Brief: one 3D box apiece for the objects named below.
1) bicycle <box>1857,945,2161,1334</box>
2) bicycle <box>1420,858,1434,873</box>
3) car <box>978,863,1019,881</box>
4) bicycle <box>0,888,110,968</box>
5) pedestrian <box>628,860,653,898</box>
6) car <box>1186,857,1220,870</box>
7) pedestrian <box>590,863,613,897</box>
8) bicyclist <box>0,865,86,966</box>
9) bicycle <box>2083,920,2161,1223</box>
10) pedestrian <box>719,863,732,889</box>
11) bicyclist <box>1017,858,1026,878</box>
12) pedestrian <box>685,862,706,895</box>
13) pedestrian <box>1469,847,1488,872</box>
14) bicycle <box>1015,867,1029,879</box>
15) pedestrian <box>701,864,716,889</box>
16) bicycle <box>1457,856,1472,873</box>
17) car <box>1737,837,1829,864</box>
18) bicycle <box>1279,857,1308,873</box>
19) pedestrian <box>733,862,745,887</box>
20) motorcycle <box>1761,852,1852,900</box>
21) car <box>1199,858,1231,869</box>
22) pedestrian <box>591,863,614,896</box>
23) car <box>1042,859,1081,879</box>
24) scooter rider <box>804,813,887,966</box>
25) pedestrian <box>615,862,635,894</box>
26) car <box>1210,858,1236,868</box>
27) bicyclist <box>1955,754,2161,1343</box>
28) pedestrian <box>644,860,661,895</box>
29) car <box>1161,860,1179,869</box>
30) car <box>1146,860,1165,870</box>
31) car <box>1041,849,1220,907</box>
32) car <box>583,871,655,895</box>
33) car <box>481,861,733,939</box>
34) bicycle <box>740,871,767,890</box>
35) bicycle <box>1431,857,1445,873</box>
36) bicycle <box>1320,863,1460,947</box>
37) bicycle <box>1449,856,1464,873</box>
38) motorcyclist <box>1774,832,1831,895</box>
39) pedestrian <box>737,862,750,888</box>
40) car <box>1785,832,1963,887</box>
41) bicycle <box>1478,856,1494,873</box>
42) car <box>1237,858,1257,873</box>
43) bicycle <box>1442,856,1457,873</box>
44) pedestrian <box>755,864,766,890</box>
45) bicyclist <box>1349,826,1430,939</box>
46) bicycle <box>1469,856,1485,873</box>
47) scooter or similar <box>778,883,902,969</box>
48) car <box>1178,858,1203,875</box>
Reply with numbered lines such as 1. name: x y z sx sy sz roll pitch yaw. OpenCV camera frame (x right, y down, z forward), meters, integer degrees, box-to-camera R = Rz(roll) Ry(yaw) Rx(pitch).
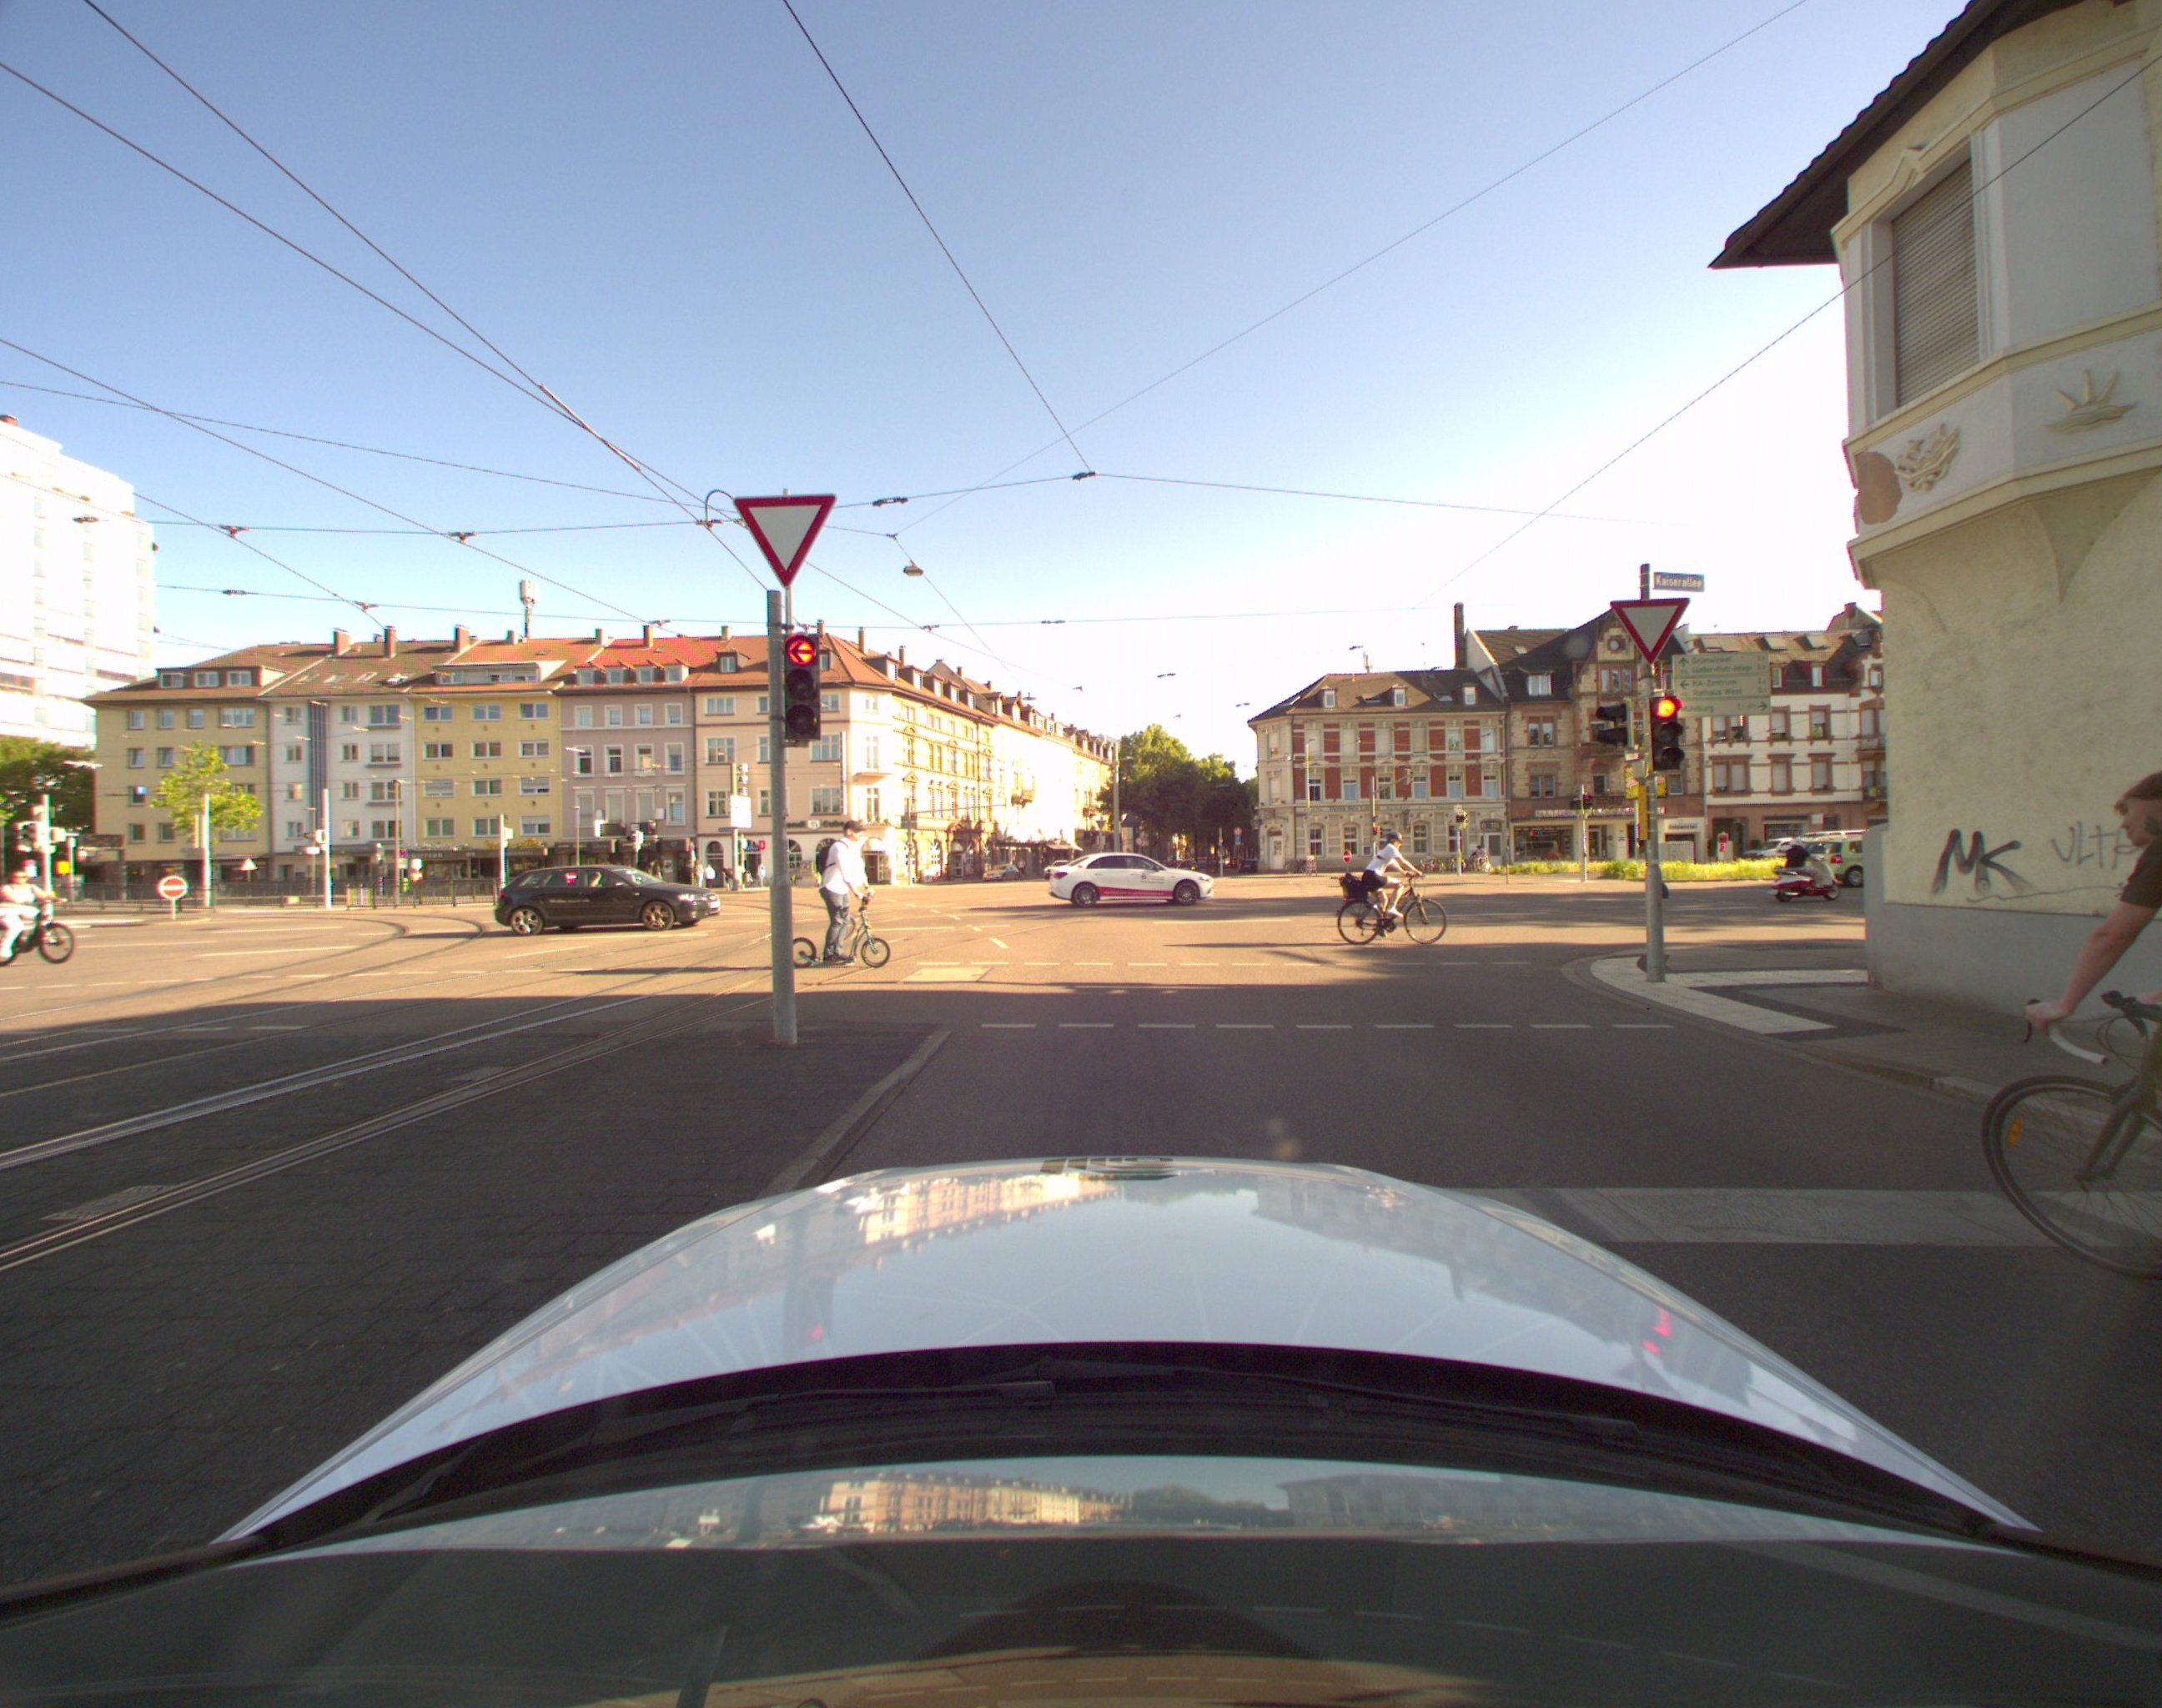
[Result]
1. bicycle: 3.555 0.922 2.499 0.568 1.058 1.890 -1 0 2
2. bicycle: 22.481 0.731 52.974 0.483 0.914 1.789 -1 0 12
3. car: -6.759 1.473 67.361 1.977 1.361 3.836 -1 0 18
4. bicycle: -18.595 1.311 14.433 1.934 1.298 0.623 -3 0 0
5. pedestrian: -21.580 1.217 39.902 0.764 1.829 0.723 -1 0 1
6. car: 14.964 1.150 99.504 3.959 1.454 1.687 -1 0 13
7. pedestrian: -23.406 1.282 39.749 0.738 1.635 0.572 -1 0 1
8. bicyclist: -18.615 1.071 14.498 0.796 1.714 0.734 -3 0 0
9. bicycle: 4.499 0.861 2.485 0.568 1.165 1.890 -1 0 2
10. pedestrian: -23.076 1.406 52.930 0.744 1.682 0.623 -1 0 -23
11. bicyclist: -4.768 1.090 65.468 0.486 1.601 0.668 -1 0 12
12. pedestrian: -19.976 1.269 42.233 0.738 1.682 0.628 -1 0 1
13. pedestrian: 27.500 0.395 56.304 1.029 1.712 0.631 -1 -1 10
14. bicycle: -4.763 1.528 65.566 0.650 1.000 1.671 -1 -1 14
15. pedestrian: -26.088 1.580 57.027 0.740 1.682 0.626 -1 0 -10
16. bicycle: 24.816 0.675 52.710 0.483 1.020 1.789 -1 0 12
17. car: 45.290 -0.244 52.596 4.239 1.622 1.999 -1 0 -1
18. bicycle: 14.912 0.748 57.136 1.940 1.054 0.717 -1 0 11
19. pedestrian: -23.496 1.432 55.972 0.744 1.682 0.623 -1 0 -23
20. motorcycle: 17.757 0.530 19.936 2.025 1.118 0.503 -1 0 -10
21. car: 17.338 1.219 105.158 3.959 1.288 1.700 -1 0 13
22. pedestrian: -24.907 1.305 42.378 0.764 1.682 0.628 -1 0 1
23. car: -1.590 1.214 67.667 1.977 1.516 4.189 -1 0 18
24. scooter rider: -3.075 0.449 10.691 0.792 1.912 0.797 -1 0 1
25. pedestrian: -23.172 1.229 41.365 0.697 1.581 0.559 -1 0 -4
26. car: 19.383 1.208 111.186 3.409 1.239 1.582 -1 0 13
27. bicyclist: 3.554 0.580 2.497 0.649 1.767 0.995 -1 0 2
28. pedestrian: -21.732 1.191 41.330 0.559 1.786 0.559 -1 0 -4
29. car: 14.333 1.701 131.256 1.977 1.404 4.189 -1 0 18
30. car: 11.203 1.681 122.498 1.977 1.404 4.189 -1 0 18
31. car: 1.309 0.615 22.359 4.667 1.473 1.737 -1 0 -8
32. car: -30.347 1.896 53.534 3.711 1.491 1.820 0 -1 4
33. car: -9.936 0.923 17.337 4.264 1.381 1.642 -2 0 -6
34. bicycle: -23.048 1.885 57.331 1.714 1.276 0.385 -1 0 -16
35. bicycle: 23.158 0.721 52.870 0.483 1.020 1.789 -1 0 12
36. bicycle: 4.863 0.775 12.865 1.920 1.223 0.741 -1 0 -6
37. bicycle: 24.313 0.680 52.802 0.483 1.020 1.789 -1 0 12
38. motorcyclist: 17.641 0.233 19.922 0.814 1.507 0.657 -1 0 -10
39. pedestrian: -21.847 1.340 52.742 0.744 1.682 0.623 -1 0 -23
40. car: 24.106 0.156 24.823 3.949 1.498 1.738 -1 0 -6
41. bicycle: 26.332 0.666 52.914 0.483 1.020 1.789 -1 0 12
42. car: 16.800 1.128 82.289 1.742 1.420 4.016 -1 0 14
43. bicycle: 23.853 0.683 52.752 0.483 1.020 1.789 -1 0 12
44. pedestrian: -15.834 1.133 40.244 0.364 1.253 0.449 -1 0 -10
45. bicyclist: 4.861 0.440 12.878 0.937 1.713 0.732 -1 0 -6
46. bicycle: 25.627 0.670 52.759 0.483 1.020 1.789 -1 0 12
47. scooter or similar: -3.135 0.927 10.670 1.426 1.043 0.565 -1 0 1
48. car: 9.331 1.064 69.149 1.705 1.300 4.089 -1 0 14
